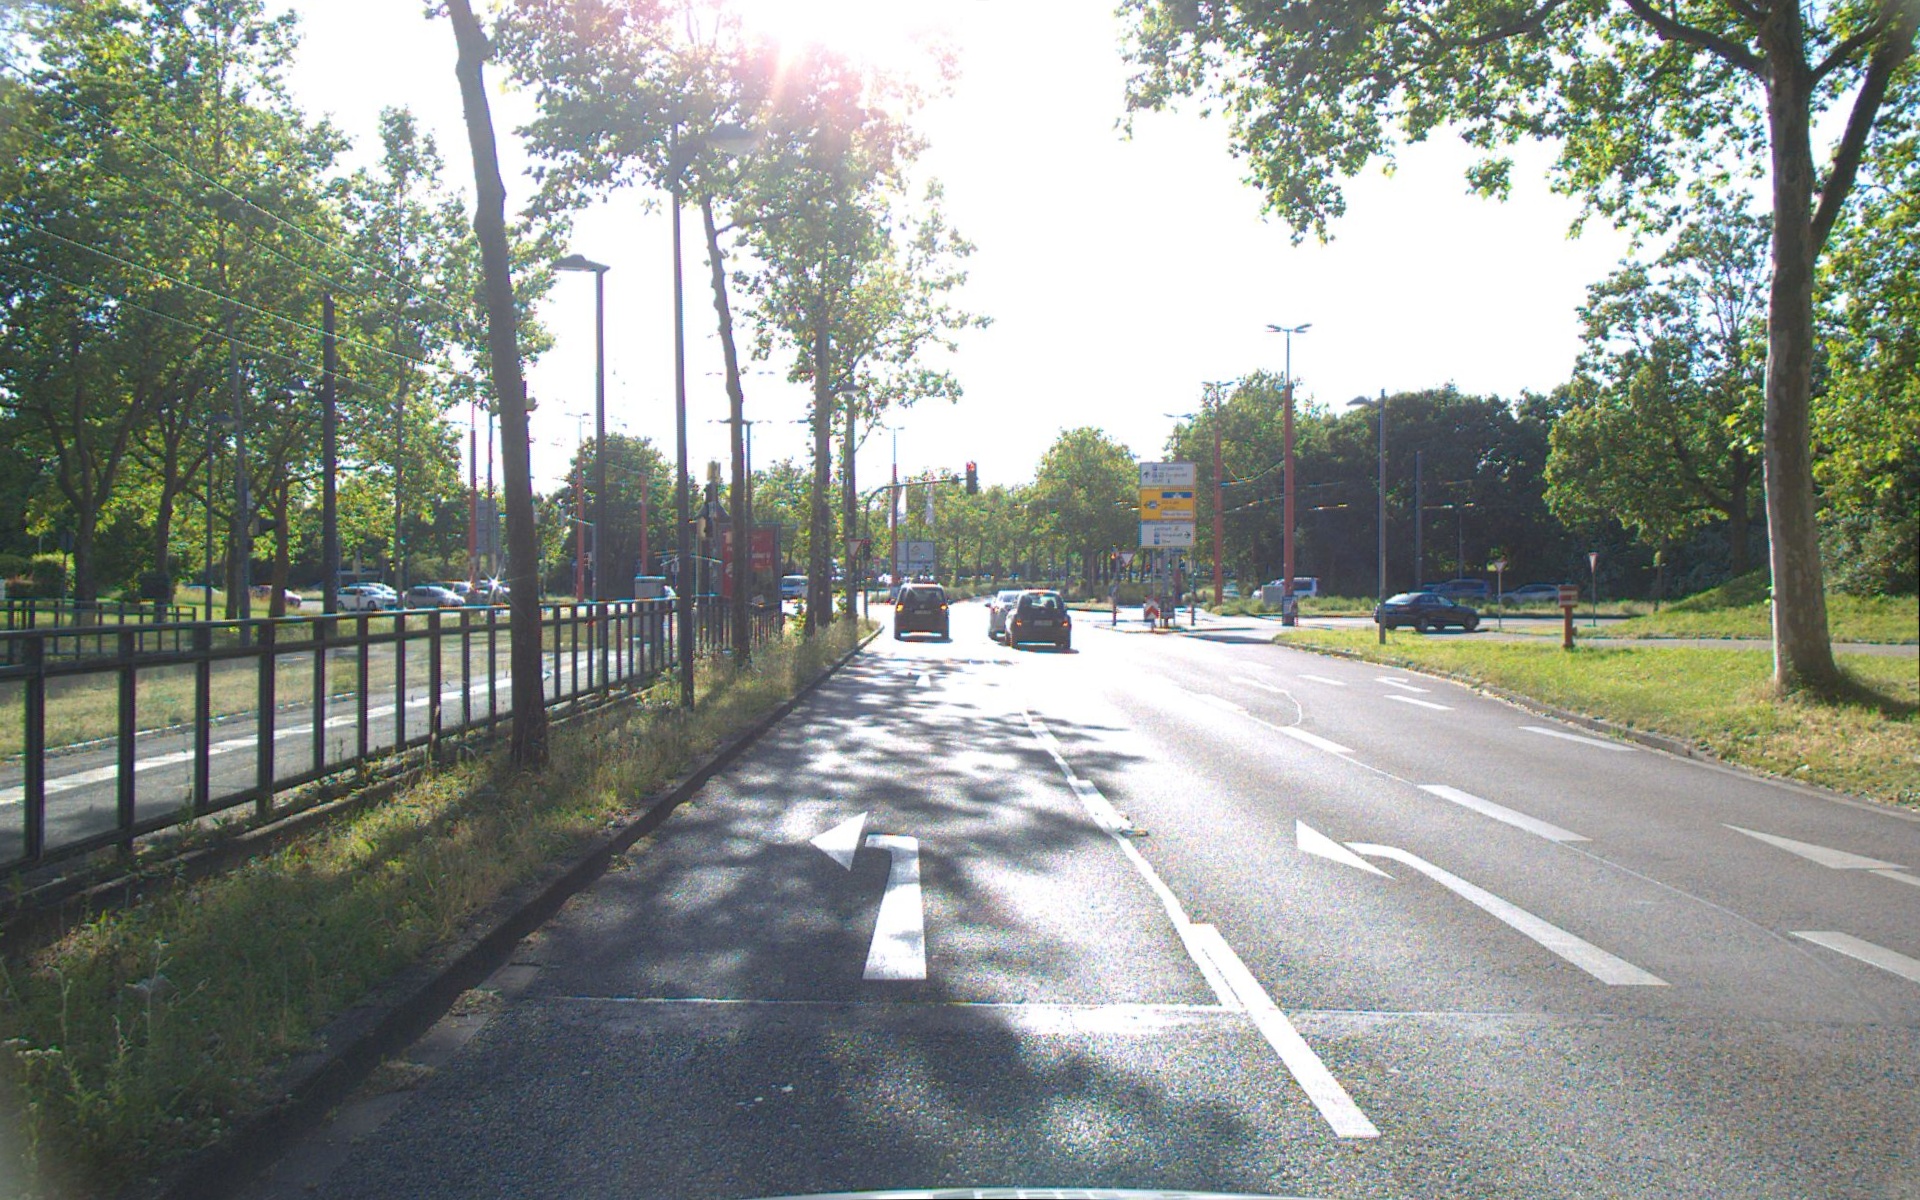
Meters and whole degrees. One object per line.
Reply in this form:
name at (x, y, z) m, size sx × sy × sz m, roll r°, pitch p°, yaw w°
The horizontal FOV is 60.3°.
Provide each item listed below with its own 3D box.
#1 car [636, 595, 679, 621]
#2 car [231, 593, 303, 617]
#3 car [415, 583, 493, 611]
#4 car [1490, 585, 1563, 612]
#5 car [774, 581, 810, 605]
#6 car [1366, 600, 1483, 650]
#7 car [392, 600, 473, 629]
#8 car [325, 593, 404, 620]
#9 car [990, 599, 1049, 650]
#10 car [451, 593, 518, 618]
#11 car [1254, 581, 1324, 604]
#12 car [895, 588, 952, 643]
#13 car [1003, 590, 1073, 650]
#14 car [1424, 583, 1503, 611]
car at (-17.465, 0.453, 95.655) m, size 1.597 × 1.475 × 3.720 m, roll 1°, pitch 0°, yaw 3°
car at (-44.544, 0.327, 106.314) m, size 3.949 × 1.461 × 1.817 m, roll -1°, pitch 2°, yaw 17°
car at (-32.139, -0.218, 105.119) m, size 4.391 × 1.638 × 1.902 m, roll -1°, pitch 2°, yaw 17°
car at (33.638, -0.118, 98.249) m, size 3.908 × 1.521 × 1.860 m, roll 1°, pitch 0°, yaw 25°
car at (-13.115, -0.519, 129.524) m, size 1.784 × 1.811 × 4.571 m, roll 1°, pitch 0°, yaw 7°
car at (18.560, 1.019, 65.982) m, size 4.556 × 1.823 × 1.966 m, roll 2°, pitch 0°, yaw -33°
car at (-32.375, 0.894, 101.590) m, size 4.391 × 1.638 × 1.902 m, roll -1°, pitch 2°, yaw 17°
car at (-37.424, 0.410, 104.005) m, size 4.391 × 1.639 × 1.901 m, roll -1°, pitch 1°, yaw 17°
car at (1.830, 0.751, 51.793) m, size 1.644 × 1.500 × 4.130 m, roll 1°, pitch 0°, yaw 0°
car at (-32.157, 0.350, 111.854) m, size 3.903 × 1.649 × 1.901 m, roll 0°, pitch 0°, yaw 17°
car at (20.163, -0.466, 101.330) m, size 3.908 × 1.361 × 1.728 m, roll 1°, pitch 0°, yaw 25°
car at (-1.161, 0.473, 51.261) m, size 1.676 × 1.631 × 3.348 m, roll 0°, pitch 0°, yaw -2°
car at (2.109, 0.517, 45.381) m, size 1.606 × 1.520 × 3.502 m, roll 1°, pitch 1°, yaw -2°
car at (29.477, -0.186, 96.824) m, size 4.264 × 1.586 × 1.871 m, roll 1°, pitch 0°, yaw 24°
